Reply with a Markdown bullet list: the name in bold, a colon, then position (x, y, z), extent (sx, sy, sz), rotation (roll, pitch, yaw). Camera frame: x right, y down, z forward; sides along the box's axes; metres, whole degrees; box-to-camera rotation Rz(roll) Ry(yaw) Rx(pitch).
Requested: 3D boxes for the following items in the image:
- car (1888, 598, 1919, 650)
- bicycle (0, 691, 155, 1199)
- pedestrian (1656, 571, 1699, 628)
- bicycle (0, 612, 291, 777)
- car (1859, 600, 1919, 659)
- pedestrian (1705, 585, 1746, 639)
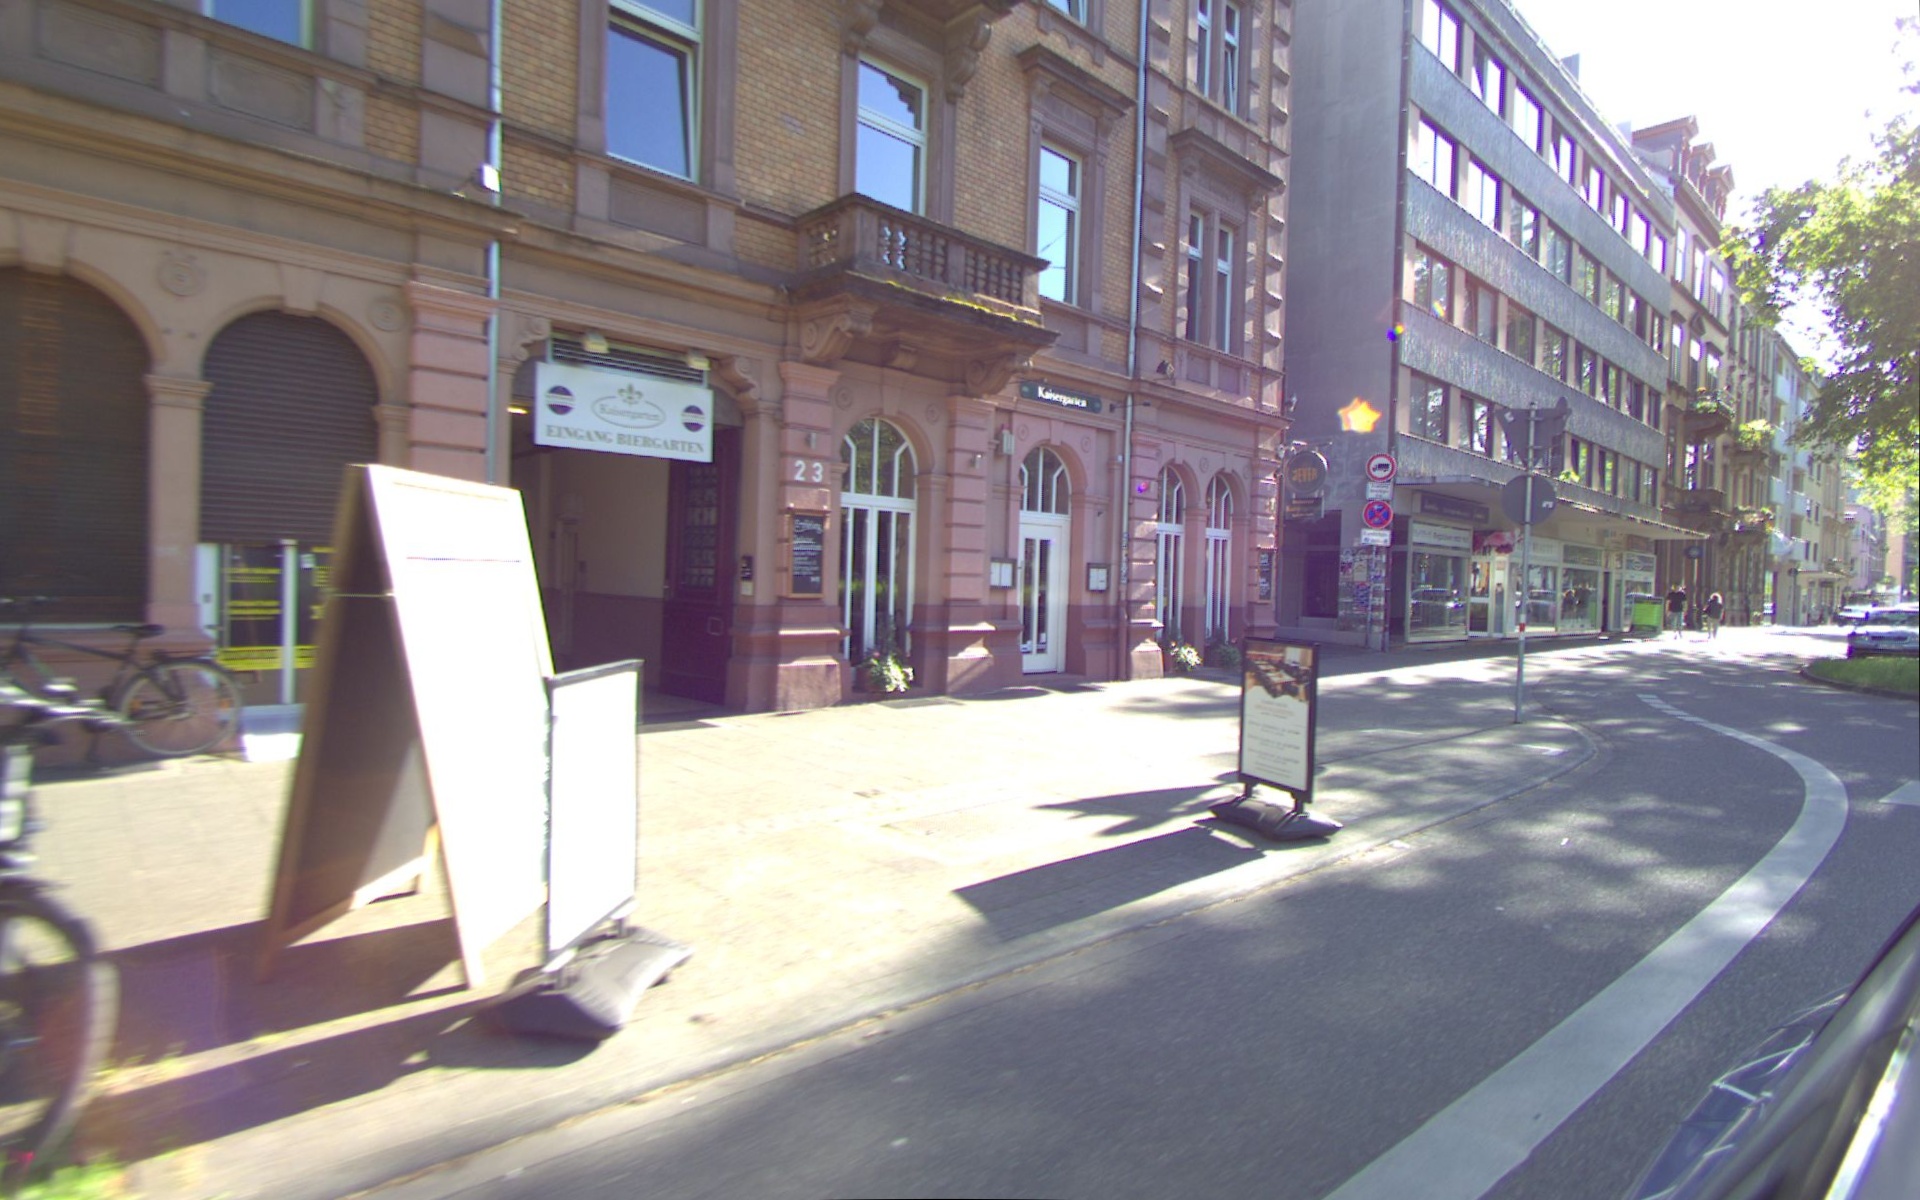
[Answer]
- **car**: position (30.231, 0.751, 31.306), extent (4.834, 1.509, 1.808), rotation (1, -1, -42)
- **bicycle**: position (-2.810, 0.849, 2.993), extent (0.437, 1.006, 2.004), rotation (3, -2, -44)
- **pedestrian**: position (24.239, -0.035, 34.196), extent (0.703, 1.863, 1.001), rotation (0, 1, -41)
- **bicycle**: position (-5.555, 0.601, 6.827), extent (1.660, 1.006, 0.443), rotation (3, -2, -44)
- **car**: position (24.927, 0.778, 26.555), extent (4.441, 1.442, 1.702), rotation (2, -2, -44)
- **pedestrian**: position (26.022, 0.407, 34.402), extent (0.703, 1.783, 1.001), rotation (3, -2, -42)
